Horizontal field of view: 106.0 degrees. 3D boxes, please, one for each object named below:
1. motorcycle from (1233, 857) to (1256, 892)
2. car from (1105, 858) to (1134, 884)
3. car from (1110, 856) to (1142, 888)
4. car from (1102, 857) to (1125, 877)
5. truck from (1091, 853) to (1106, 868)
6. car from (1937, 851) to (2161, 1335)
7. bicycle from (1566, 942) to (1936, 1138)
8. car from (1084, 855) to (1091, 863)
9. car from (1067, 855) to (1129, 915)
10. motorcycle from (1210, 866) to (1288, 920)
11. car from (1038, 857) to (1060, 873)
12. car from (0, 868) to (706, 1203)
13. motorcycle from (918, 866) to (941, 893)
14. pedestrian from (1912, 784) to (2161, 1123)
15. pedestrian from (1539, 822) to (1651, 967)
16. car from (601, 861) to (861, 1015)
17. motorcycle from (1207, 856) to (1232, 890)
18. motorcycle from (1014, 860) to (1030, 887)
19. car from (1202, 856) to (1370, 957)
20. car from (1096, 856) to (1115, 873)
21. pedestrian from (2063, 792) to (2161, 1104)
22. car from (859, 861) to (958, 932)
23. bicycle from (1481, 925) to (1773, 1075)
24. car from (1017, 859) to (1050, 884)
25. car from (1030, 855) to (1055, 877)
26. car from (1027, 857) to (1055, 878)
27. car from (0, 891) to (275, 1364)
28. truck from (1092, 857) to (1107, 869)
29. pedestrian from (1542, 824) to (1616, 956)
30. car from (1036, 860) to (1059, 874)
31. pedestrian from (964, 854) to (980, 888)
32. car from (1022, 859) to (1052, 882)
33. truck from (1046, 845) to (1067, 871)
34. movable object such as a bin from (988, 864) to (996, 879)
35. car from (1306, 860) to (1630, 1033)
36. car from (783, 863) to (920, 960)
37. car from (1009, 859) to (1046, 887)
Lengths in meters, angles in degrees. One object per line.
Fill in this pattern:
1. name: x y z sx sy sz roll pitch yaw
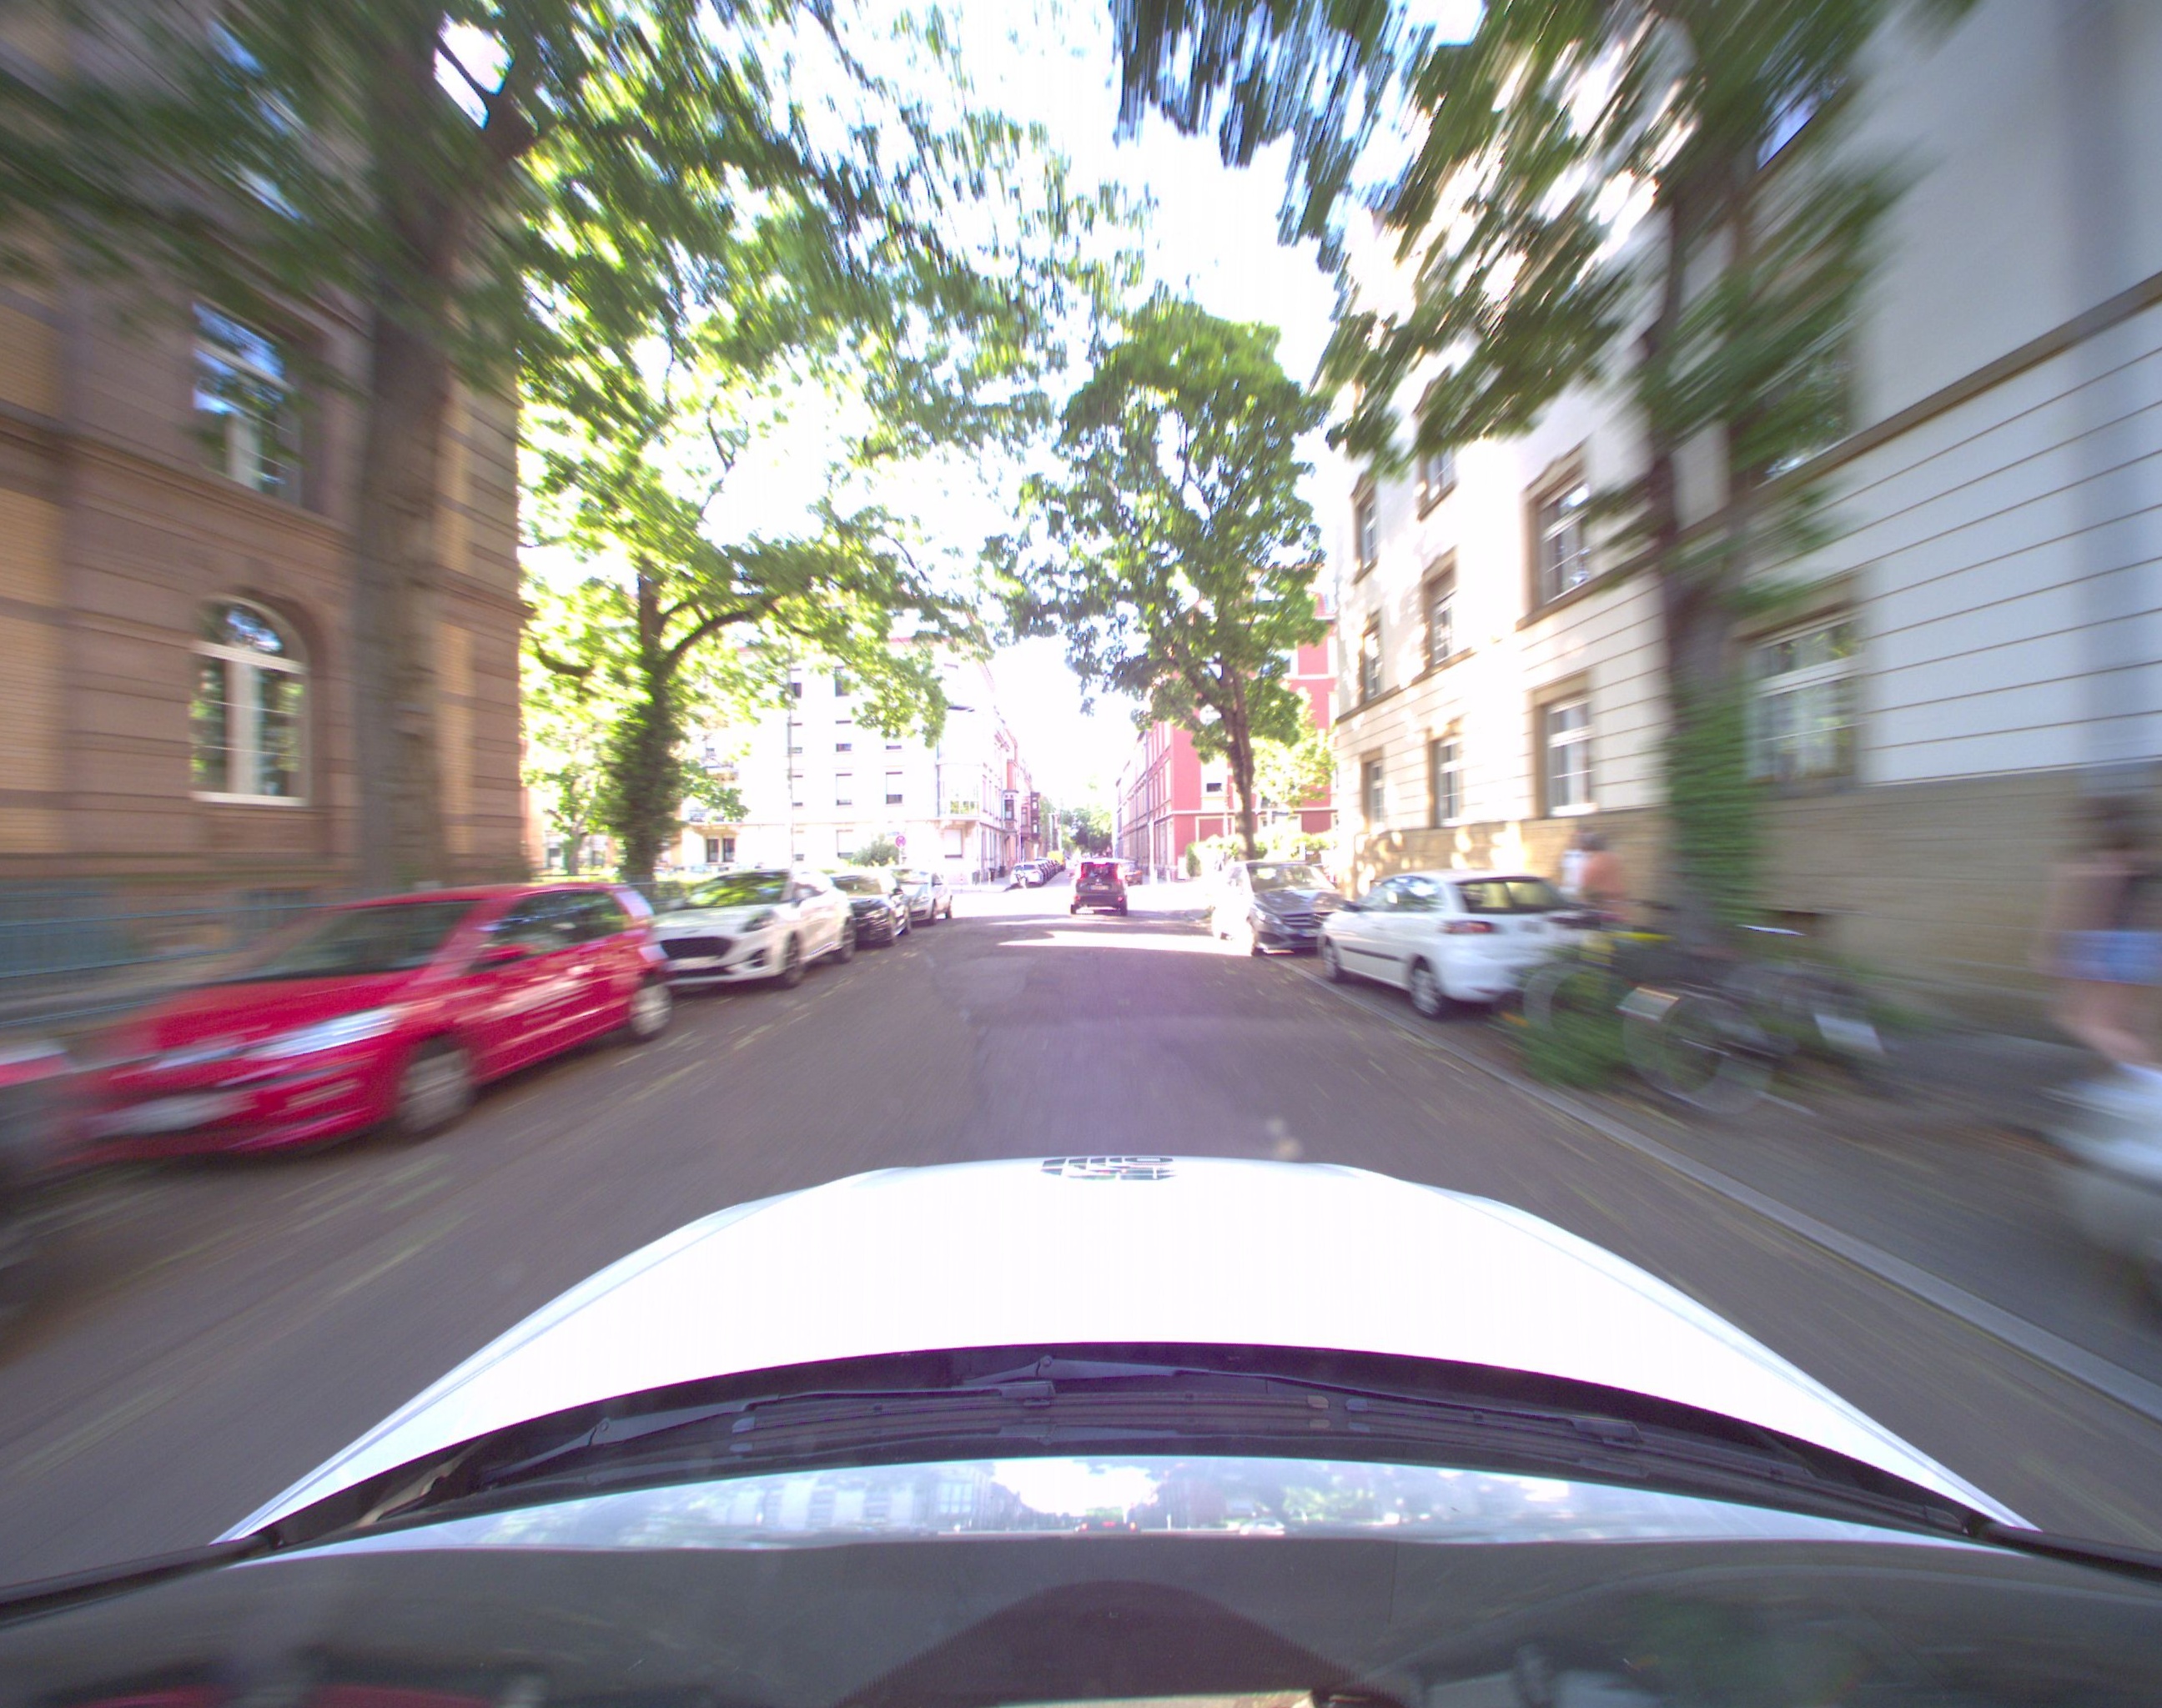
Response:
1. motorcycle: 7.328 0.894 36.563 0.822 1.404 2.562 -1 2 8
2. car: 2.350 0.998 50.180 1.657 1.505 3.757 0 0 1
3. car: 2.507 0.968 45.688 1.657 1.669 3.757 0 0 1
4. car: 2.428 0.953 61.181 1.657 1.505 3.757 0 0 1
5. truck: 2.426 0.884 114.458 1.987 1.992 3.999 -1 0 0
6. car: 4.133 0.739 1.439 1.515 1.511 3.543 -1 0 0
7. bicycle: 4.012 1.093 4.958 1.764 1.039 0.606 0 0 0
8. car: 1.345 1.004 168.243 1.363 1.618 3.414 -1 0 1
9. car: 0.504 0.838 23.435 1.627 1.550 3.265 2 0 2
10. motorcycle: 4.218 0.974 20.407 1.837 1.266 0.507 -2 0 14
11. car: -3.372 1.136 86.587 1.955 1.479 3.925 -4 0 1
12. car: -4.546 0.929 6.034 1.597 1.460 4.026 -4 0 0
13. motorcycle: -7.715 1.299 41.584 0.514 1.294 1.618 0 0 14
14. pedestrian: 5.467 0.512 4.644 0.518 1.735 0.878 -1 0 1
15. pedestrian: 6.319 0.480 10.061 0.776 1.694 0.873 -1 0 -3
16. car: -4.493 0.960 11.234 1.820 1.554 4.129 -5 0 -2
17. motorcycle: 6.347 0.860 37.202 1.013 1.404 2.200 -1 2 12
18. motorcycle: -3.260 1.065 44.790 0.696 1.460 1.745 -2 0 -9
19. car: 3.557 0.835 15.004 1.785 1.551 4.405 -1 0 -3
20. car: 2.243 0.923 74.854 1.657 1.505 3.757 0 0 1
21. pedestrian: 6.177 0.505 4.512 0.593 1.701 0.689 -1 0 1
22. car: -4.405 1.028 21.376 1.691 1.550 3.918 -4 0 -1
23. bicycle: 4.078 1.072 6.181 1.710 0.949 0.733 -2 0 0
24. car: -3.051 1.115 53.174 1.771 1.413 3.925 -4 0 1
25. car: -3.246 0.986 69.648 1.769 1.698 3.925 -4 0 1
26. car: -3.111 1.058 64.492 1.822 1.479 3.925 -4 0 1
27. car: -4.454 0.935 1.133 1.994 1.457 4.605 -3 0 0
28. truck: 2.468 1.192 109.076 1.987 1.456 3.999 -1 0 0
29. pedestrian: 6.707 0.469 10.998 0.488 1.705 0.757 -1 -1 -1
30. car: -3.200 1.247 78.935 1.955 1.224 3.925 -4 0 1
31. pedestrian: -6.031 0.934 45.114 0.718 1.839 0.628 0 0 11
32. car: -3.155 1.149 59.389 1.819 1.467 3.925 -4 0 1
33. truck: -3.017 0.512 100.703 2.063 2.926 5.068 -5 0 1
34. movable object such as a bin: -6.124 1.198 55.944 0.510 0.952 0.500 -1 0 -3
35. car: 4.010 0.834 9.224 1.608 1.478 3.864 -1 0 -4
36. car: -4.391 1.010 16.276 1.744 1.474 4.455 -5 0 -6
37. car: -3.116 1.094 48.088 1.790 1.431 3.925 -4 0 1
